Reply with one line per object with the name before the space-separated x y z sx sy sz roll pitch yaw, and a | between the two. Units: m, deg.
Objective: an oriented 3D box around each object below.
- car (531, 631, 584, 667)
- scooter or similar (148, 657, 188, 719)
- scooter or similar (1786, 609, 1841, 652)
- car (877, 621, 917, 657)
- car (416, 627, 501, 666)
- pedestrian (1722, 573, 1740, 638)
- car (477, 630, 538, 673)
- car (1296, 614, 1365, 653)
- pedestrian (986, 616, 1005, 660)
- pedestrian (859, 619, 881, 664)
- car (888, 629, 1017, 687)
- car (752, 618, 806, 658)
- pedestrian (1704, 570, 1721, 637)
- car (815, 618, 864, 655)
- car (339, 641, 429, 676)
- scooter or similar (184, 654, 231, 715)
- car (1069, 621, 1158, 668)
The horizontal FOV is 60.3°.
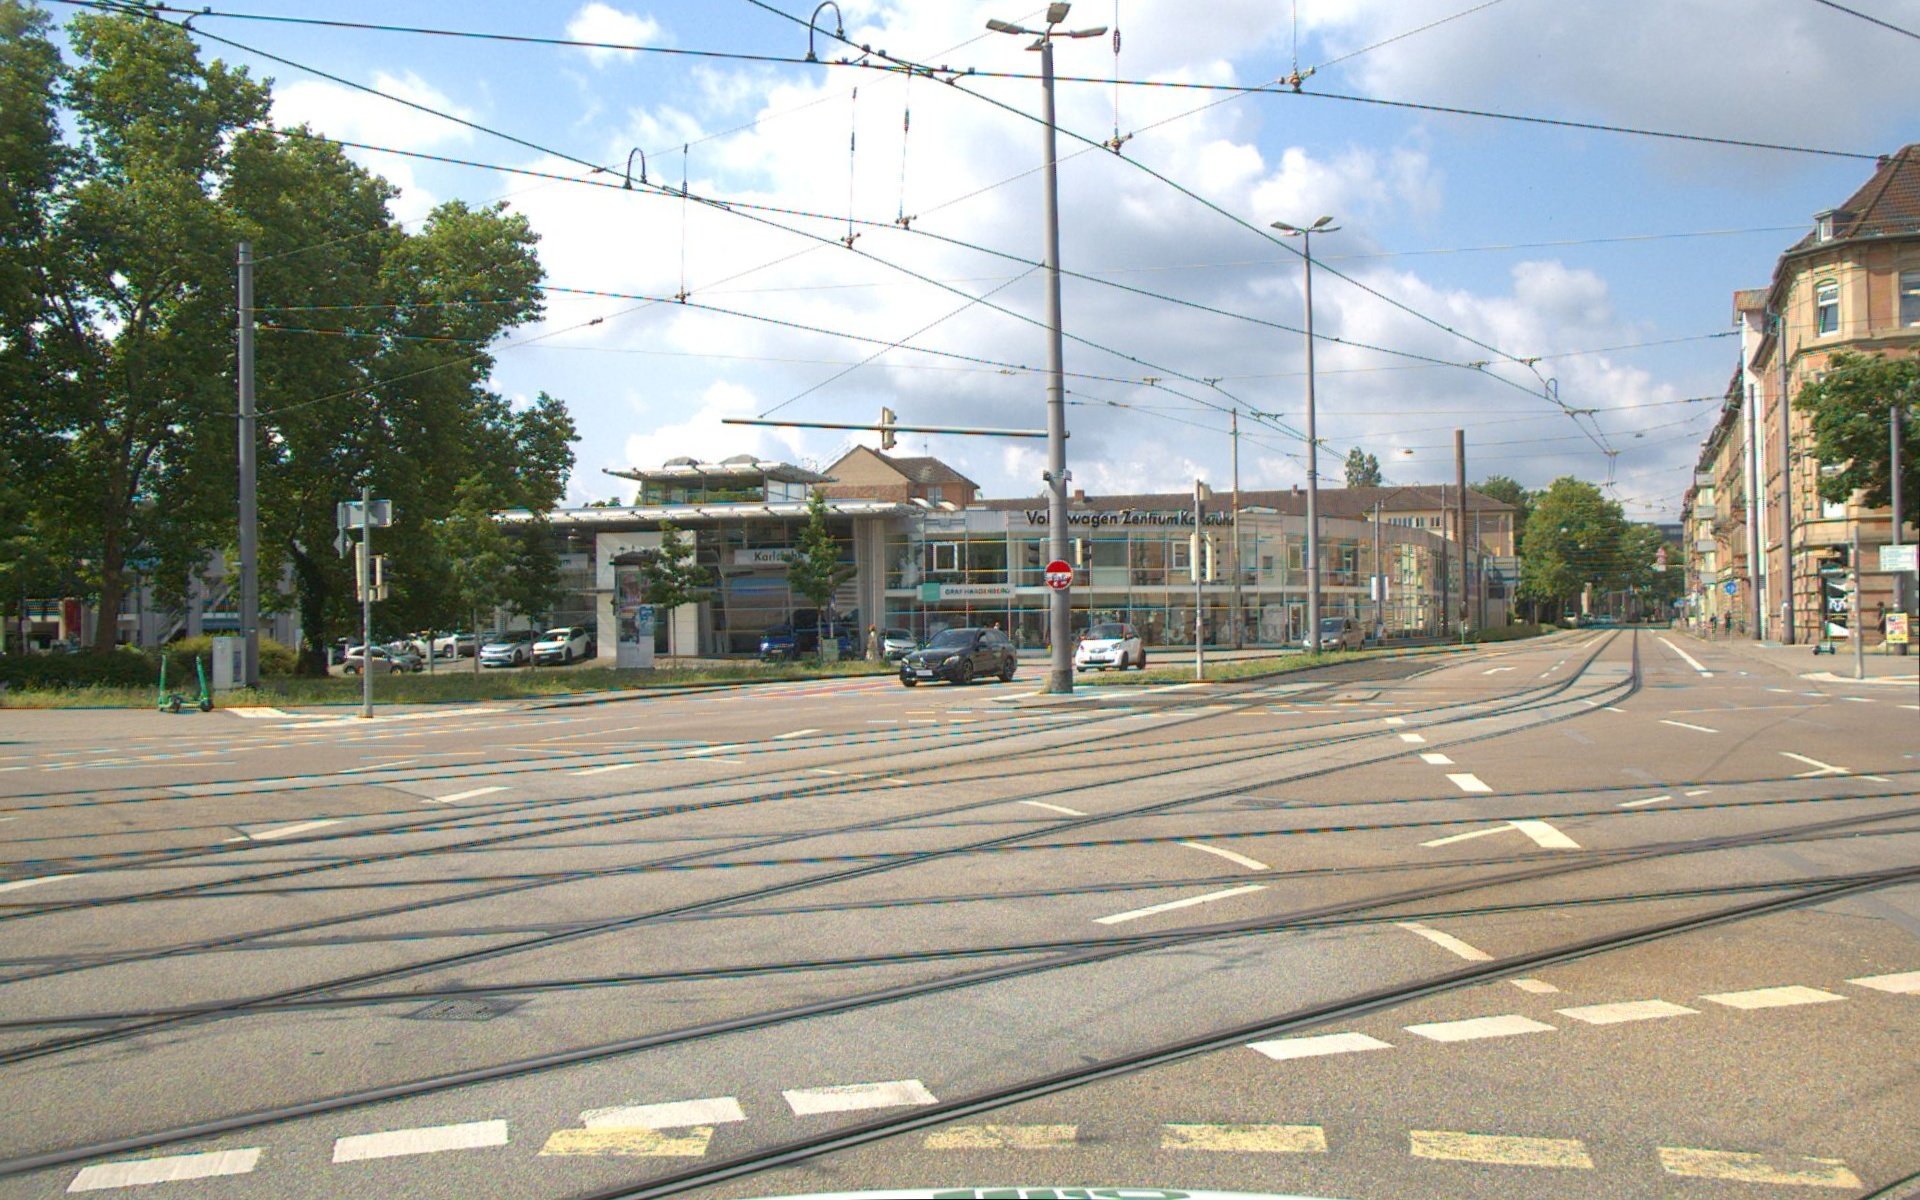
car | -20.196 2.451 83.122 1.749 1.712 3.999 -1 -1 -1
scooter or similar | -16.091 1.778 33.603 1.047 1.218 0.379 -1 -2 45
scooter or similar | 29.132 1.048 56.478 1.152 1.410 2.805 0 -2 16
car | -3.083 1.933 81.524 1.889 1.713 3.998 1 -2 -2
car | -27.364 2.517 90.305 3.902 2.049 2.001 1 -2 12
pedestrian | 37.066 0.276 79.491 0.711 3.130 0.885 0 -2 32
car | -22.712 2.591 83.083 1.953 2.049 3.999 2 -2 -1
car | 15.881 1.408 70.744 1.955 1.601 3.731 -1 -1 28
pedestrian | 1.664 1.797 78.487 0.851 2.049 0.703 -1 -1 -1
pedestrian | -4.133 1.908 75.844 0.790 2.049 0.809 0 -2 11
car | -0.156 1.493 43.360 1.828 1.400 3.937 -1 -1 26
car | -8.833 1.868 80.909 1.952 1.870 4.001 -2 -2 3
pedestrian | 36.357 0.183 79.943 0.654 3.175 0.885 0 -2 32
car | -5.812 1.777 79.991 1.952 1.756 4.000 1 -2 2
car | -27.203 2.737 78.148 3.592 1.514 1.674 1 -1 8
scooter or similar | -15.421 1.715 33.892 1.043 1.218 0.380 0 -2 34
car | 5.128 1.476 54.877 1.653 1.496 3.651 0 -2 28
